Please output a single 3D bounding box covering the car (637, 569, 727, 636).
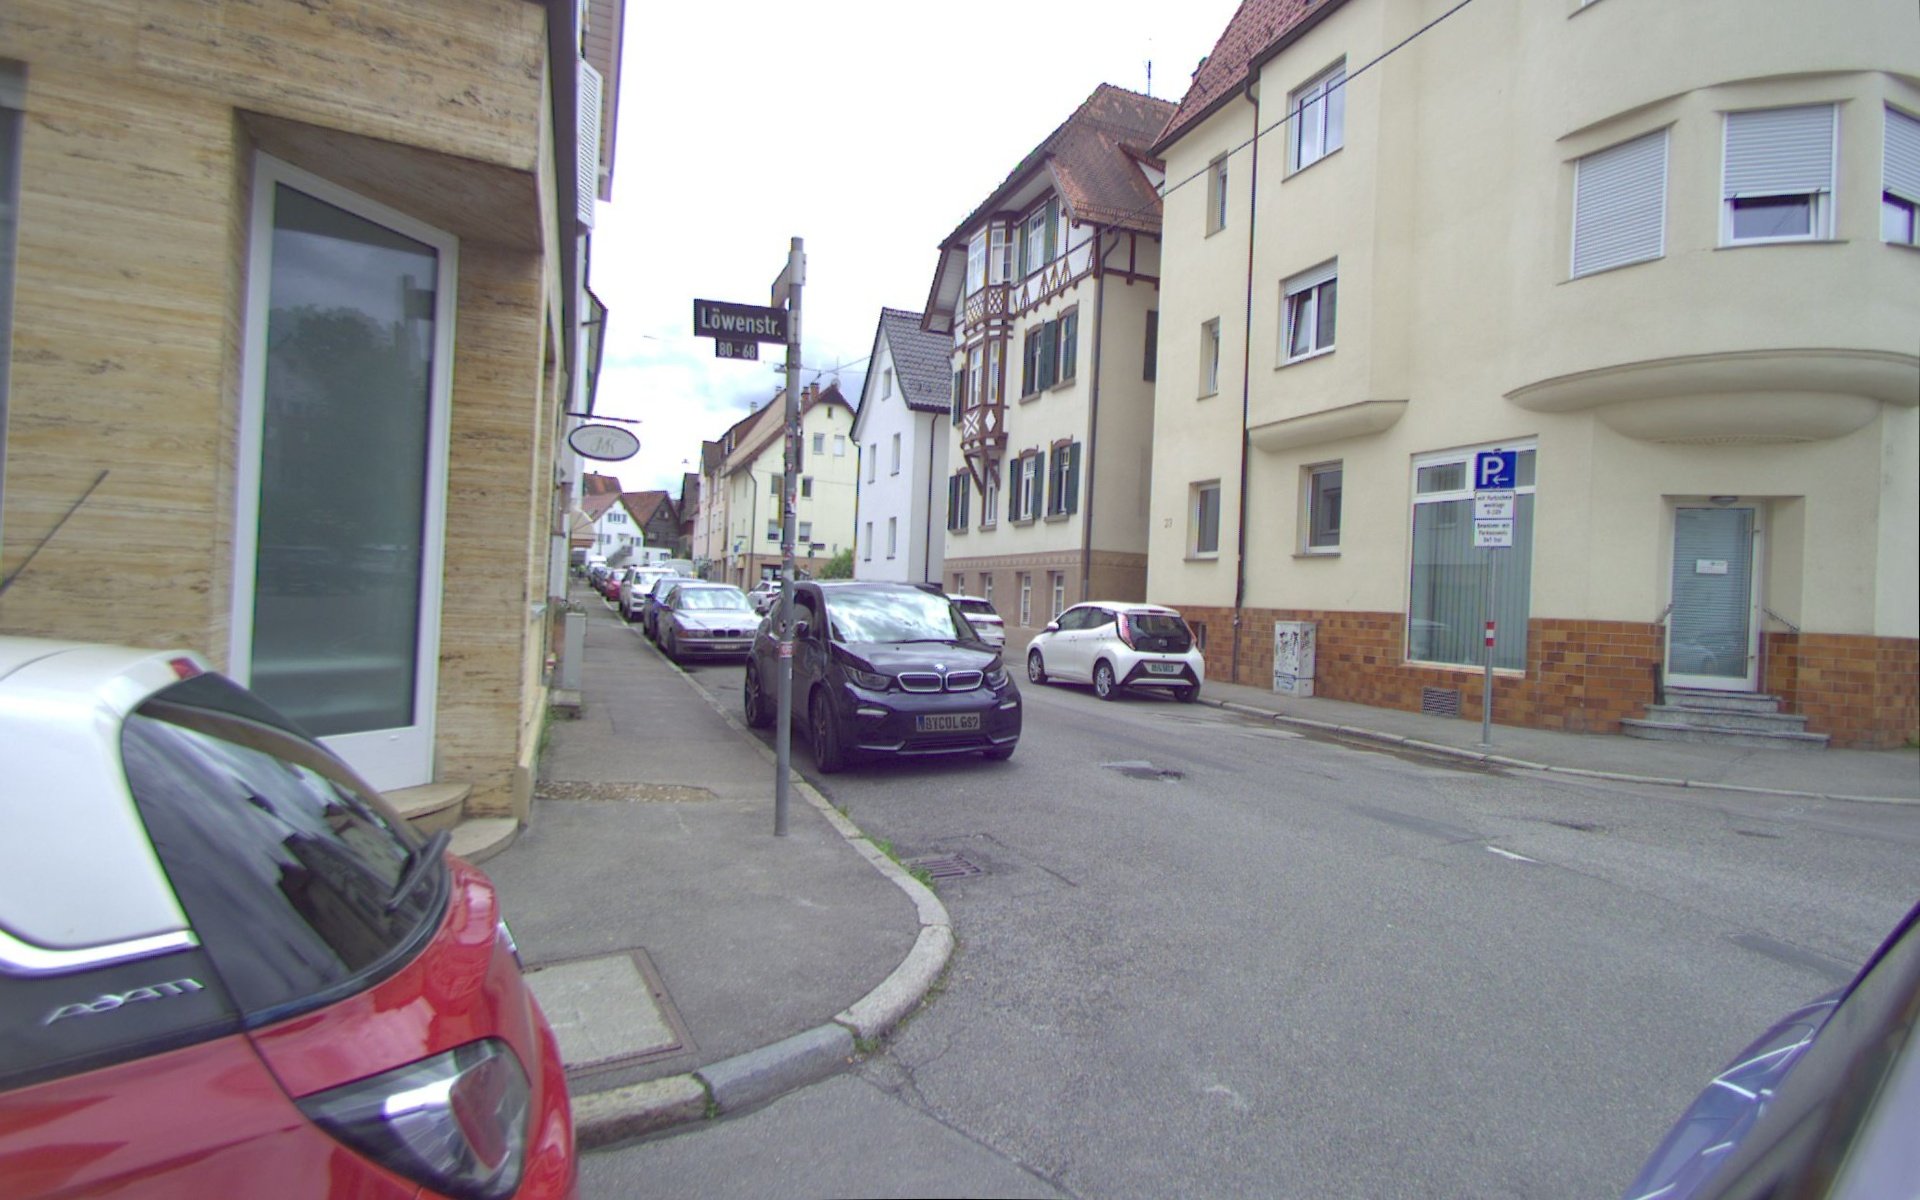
[{"bbox_3d":[-6.889,0.007,24.854,1.720,1.450,3.938,1,2,-21],"label":"car"}]

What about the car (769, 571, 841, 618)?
[{"bbox_3d":[-5.845,-0.239,37.753,1.720,1.467,4.077,5,1,-21],"label":"car"}]

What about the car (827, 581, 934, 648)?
[{"bbox_3d":[-2.294,0.347,27.987,1.720,1.474,4.380,5,1,-20],"label":"car"}]

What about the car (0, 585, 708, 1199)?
[{"bbox_3d":[-2.246,0.737,1.027,3.553,1.498,1.675,0,1,-30],"label":"car"}]

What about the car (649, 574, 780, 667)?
[{"bbox_3d":[-4.798,0.279,19.280,1.755,1.434,4.589,-1,3,-22],"label":"car"}]

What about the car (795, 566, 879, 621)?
[{"bbox_3d":[-4.092,-0.252,33.145,1.720,1.528,4.094,5,1,-20],"label":"car"}]

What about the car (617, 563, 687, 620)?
[{"bbox_3d":[-10.403,-0.325,33.982,1.862,1.726,4.505,1,2,-21],"label":"car"}]

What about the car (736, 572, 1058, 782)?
[{"bbox_3d":[-0.844,0.524,9.766,1.786,1.562,4.035,0,1,-24],"label":"car"}]

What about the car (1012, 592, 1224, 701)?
[{"bbox_3d":[2.410,0.673,16.401,1.637,1.452,3.824,3,0,-21],"label":"car"}]

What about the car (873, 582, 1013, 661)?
[{"bbox_3d":[-0.513,0.423,23.442,1.720,1.450,4.380,5,1,-21],"label":"car"}]

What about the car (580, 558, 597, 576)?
[{"bbox_3d":[-37.828,-3.350,103.001,1.574,1.747,3.560,-1,3,-21],"label":"car"}]

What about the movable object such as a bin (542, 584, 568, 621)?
[{"bbox_3d":[-10.721,0.063,26.778,0.558,0.941,0.523,5,-1,-21],"label":"movable object such as a bin"}]

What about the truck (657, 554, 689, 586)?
[{"bbox_3d":[-23.019,-2.458,80.992,1.747,2.421,5.498,2,2,-22],"label":"truck"}]

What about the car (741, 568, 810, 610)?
[{"bbox_3d":[-7.741,-0.482,42.098,1.720,1.449,4.359,5,1,-24],"label":"car"}]
